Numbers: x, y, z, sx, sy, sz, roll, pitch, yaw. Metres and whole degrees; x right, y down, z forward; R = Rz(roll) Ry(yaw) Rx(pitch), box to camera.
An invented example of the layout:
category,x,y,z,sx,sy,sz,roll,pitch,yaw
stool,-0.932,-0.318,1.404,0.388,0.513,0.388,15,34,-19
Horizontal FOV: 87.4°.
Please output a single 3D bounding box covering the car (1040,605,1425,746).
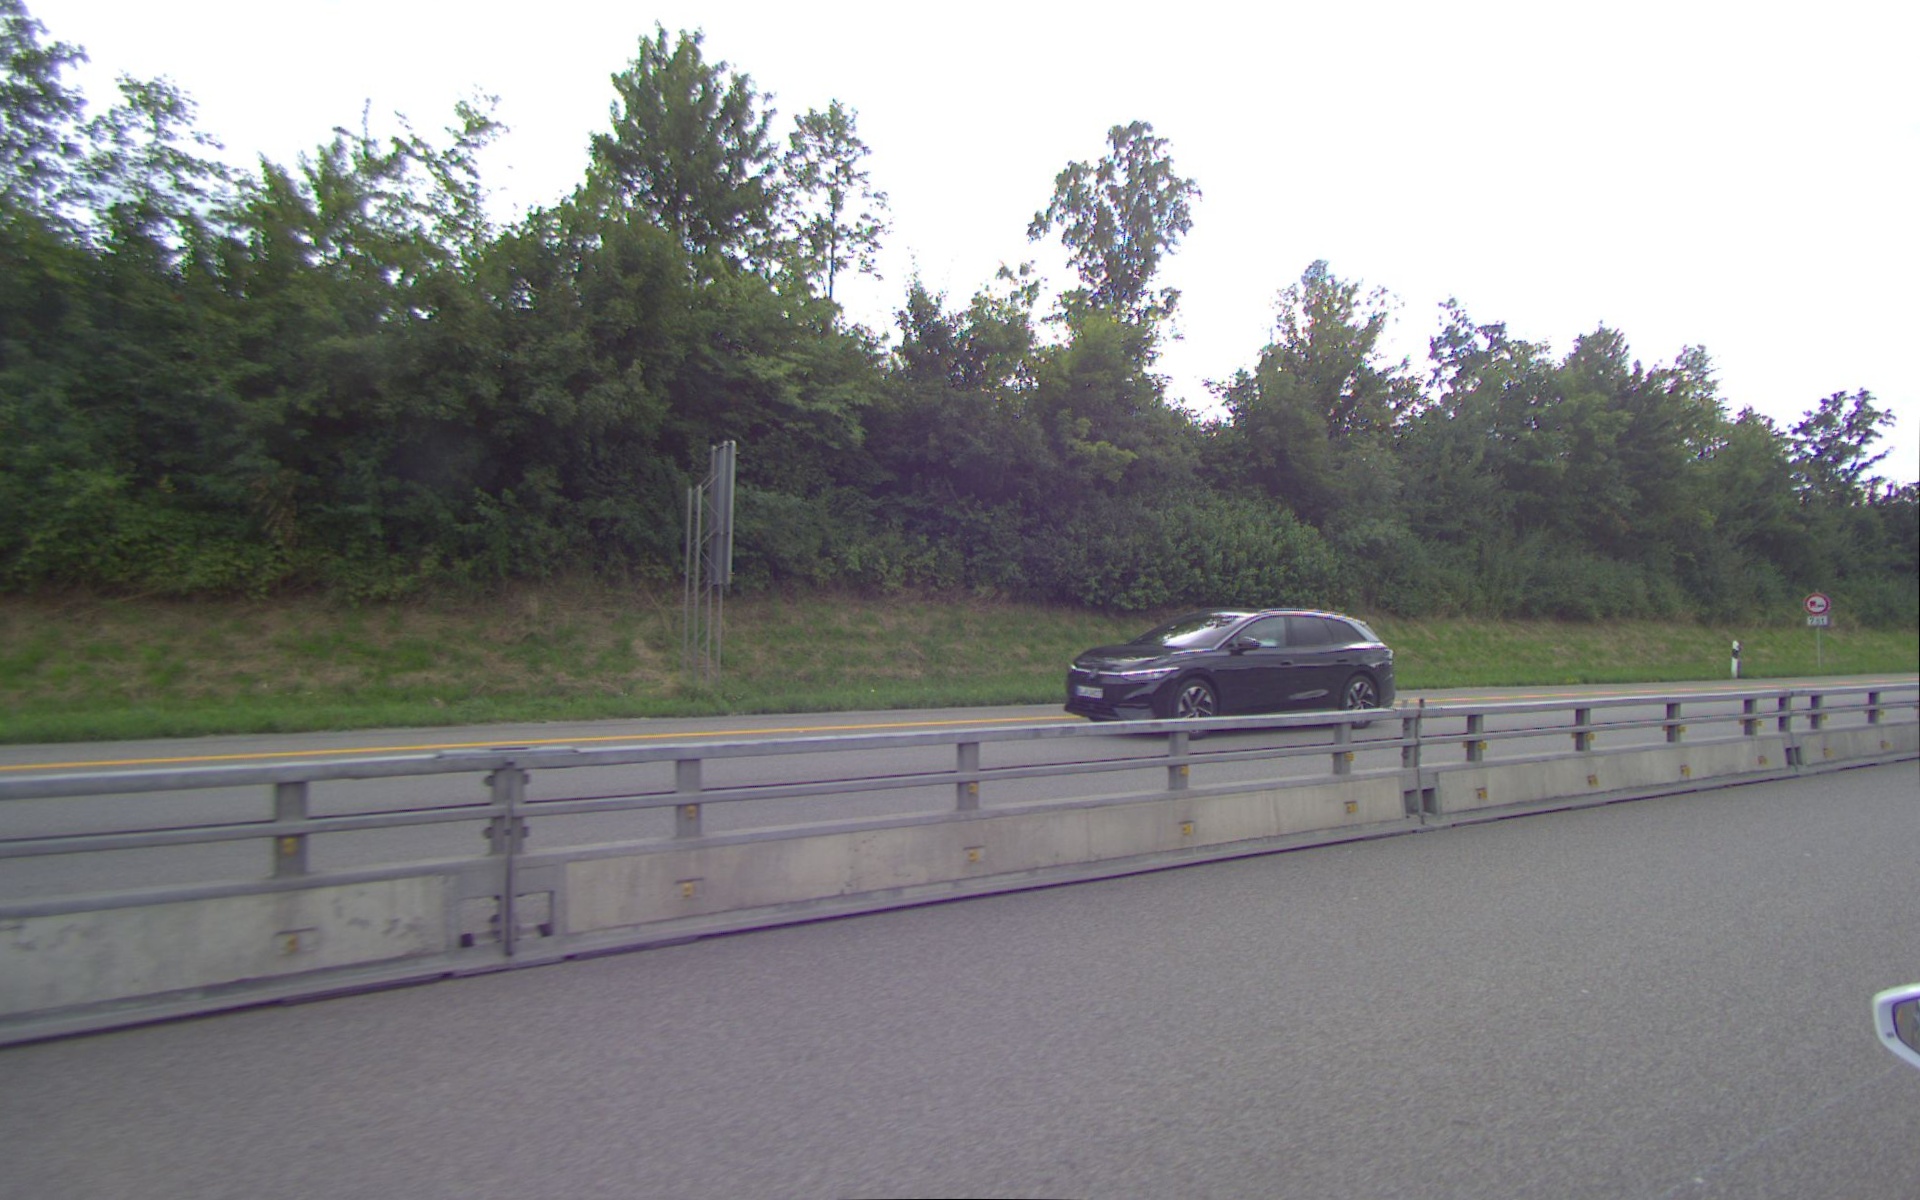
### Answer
category,x,y,z,sx,sy,sz,roll,pitch,yaw
car,3.674,0.901,13.254,4.964,1.544,1.984,2,0,-30
